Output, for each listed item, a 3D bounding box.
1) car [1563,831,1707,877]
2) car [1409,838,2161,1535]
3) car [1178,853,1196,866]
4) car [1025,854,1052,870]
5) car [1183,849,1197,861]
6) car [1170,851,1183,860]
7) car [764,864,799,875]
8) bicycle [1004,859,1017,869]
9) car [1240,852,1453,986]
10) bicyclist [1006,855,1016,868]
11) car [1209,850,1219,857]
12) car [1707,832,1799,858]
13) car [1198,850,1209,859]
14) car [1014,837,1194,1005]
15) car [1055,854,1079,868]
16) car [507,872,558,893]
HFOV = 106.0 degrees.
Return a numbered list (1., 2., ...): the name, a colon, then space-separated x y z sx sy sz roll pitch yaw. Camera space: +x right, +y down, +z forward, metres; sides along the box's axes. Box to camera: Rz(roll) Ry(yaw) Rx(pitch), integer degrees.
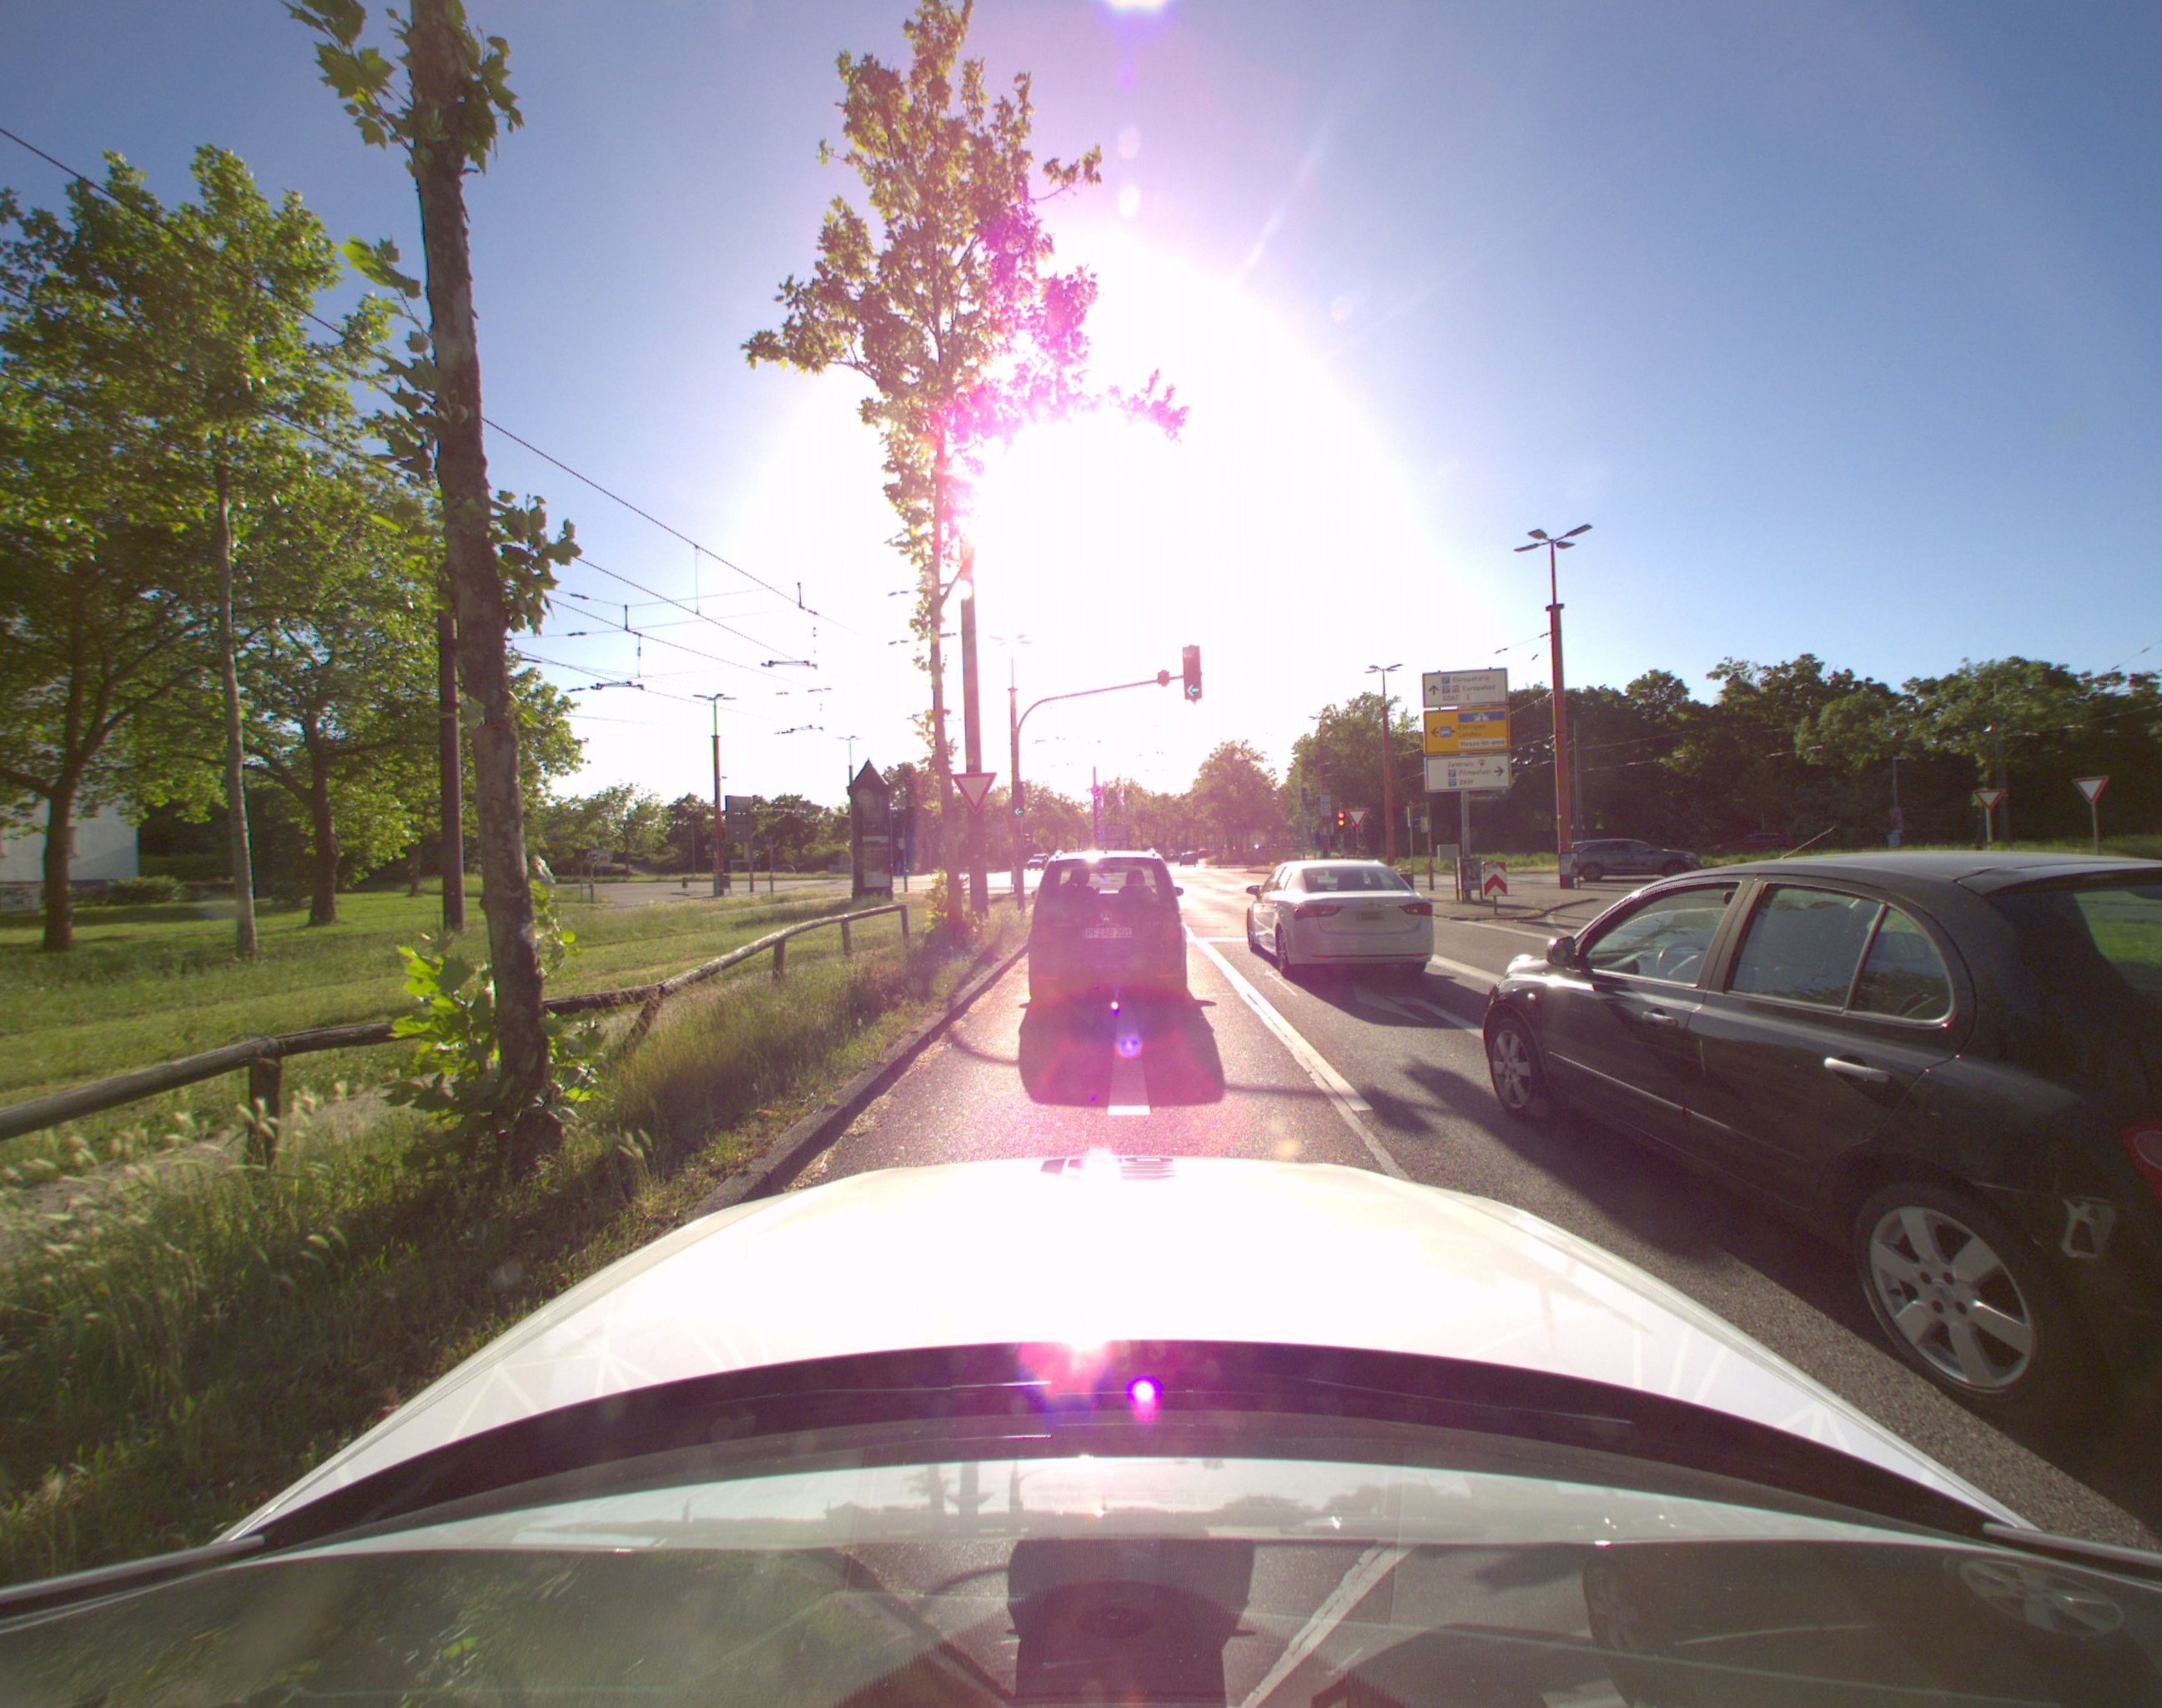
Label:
1. car: 22.325 0.022 33.076 4.633 1.704 2.012 -2 -1 30
2. car: 3.262 0.702 3.795 1.728 1.482 4.625 -2 0 2
3. car: 11.615 0.569 88.688 1.779 1.388 4.060 -1 0 9
4. car: -4.830 0.882 93.948 1.889 1.726 4.669 -2 0 12
5. car: 14.734 0.135 109.909 1.862 1.627 4.008 0 -1 7
6. car: 14.963 0.194 127.453 1.779 1.388 4.060 -1 0 9
7. car: -37.085 1.960 100.855 3.950 1.266 1.955 -2 0 26
8. bicycle: -8.196 1.199 94.559 0.757 1.091 2.025 -2 1 19
9. car: 3.428 0.737 11.391 1.760 1.464 4.370 -2 0 3
10. bicyclist: -8.184 0.871 94.635 0.753 1.557 0.986 -2 0 19
11. car: 26.573 -0.125 162.809 1.777 1.388 4.065 -1 0 13
12. car: 43.162 -0.573 52.422 4.234 1.495 2.013 -2 0 29
13. car: 21.475 -0.005 142.416 1.778 1.502 4.062 -1 0 11
14. car: 0.326 0.666 10.646 1.761 1.644 4.926 -2 0 2
15. car: -1.548 0.768 91.529 1.756 1.538 4.104 -2 0 11
16. car: -49.816 2.595 73.958 4.390 1.775 1.917 -2 2 29
